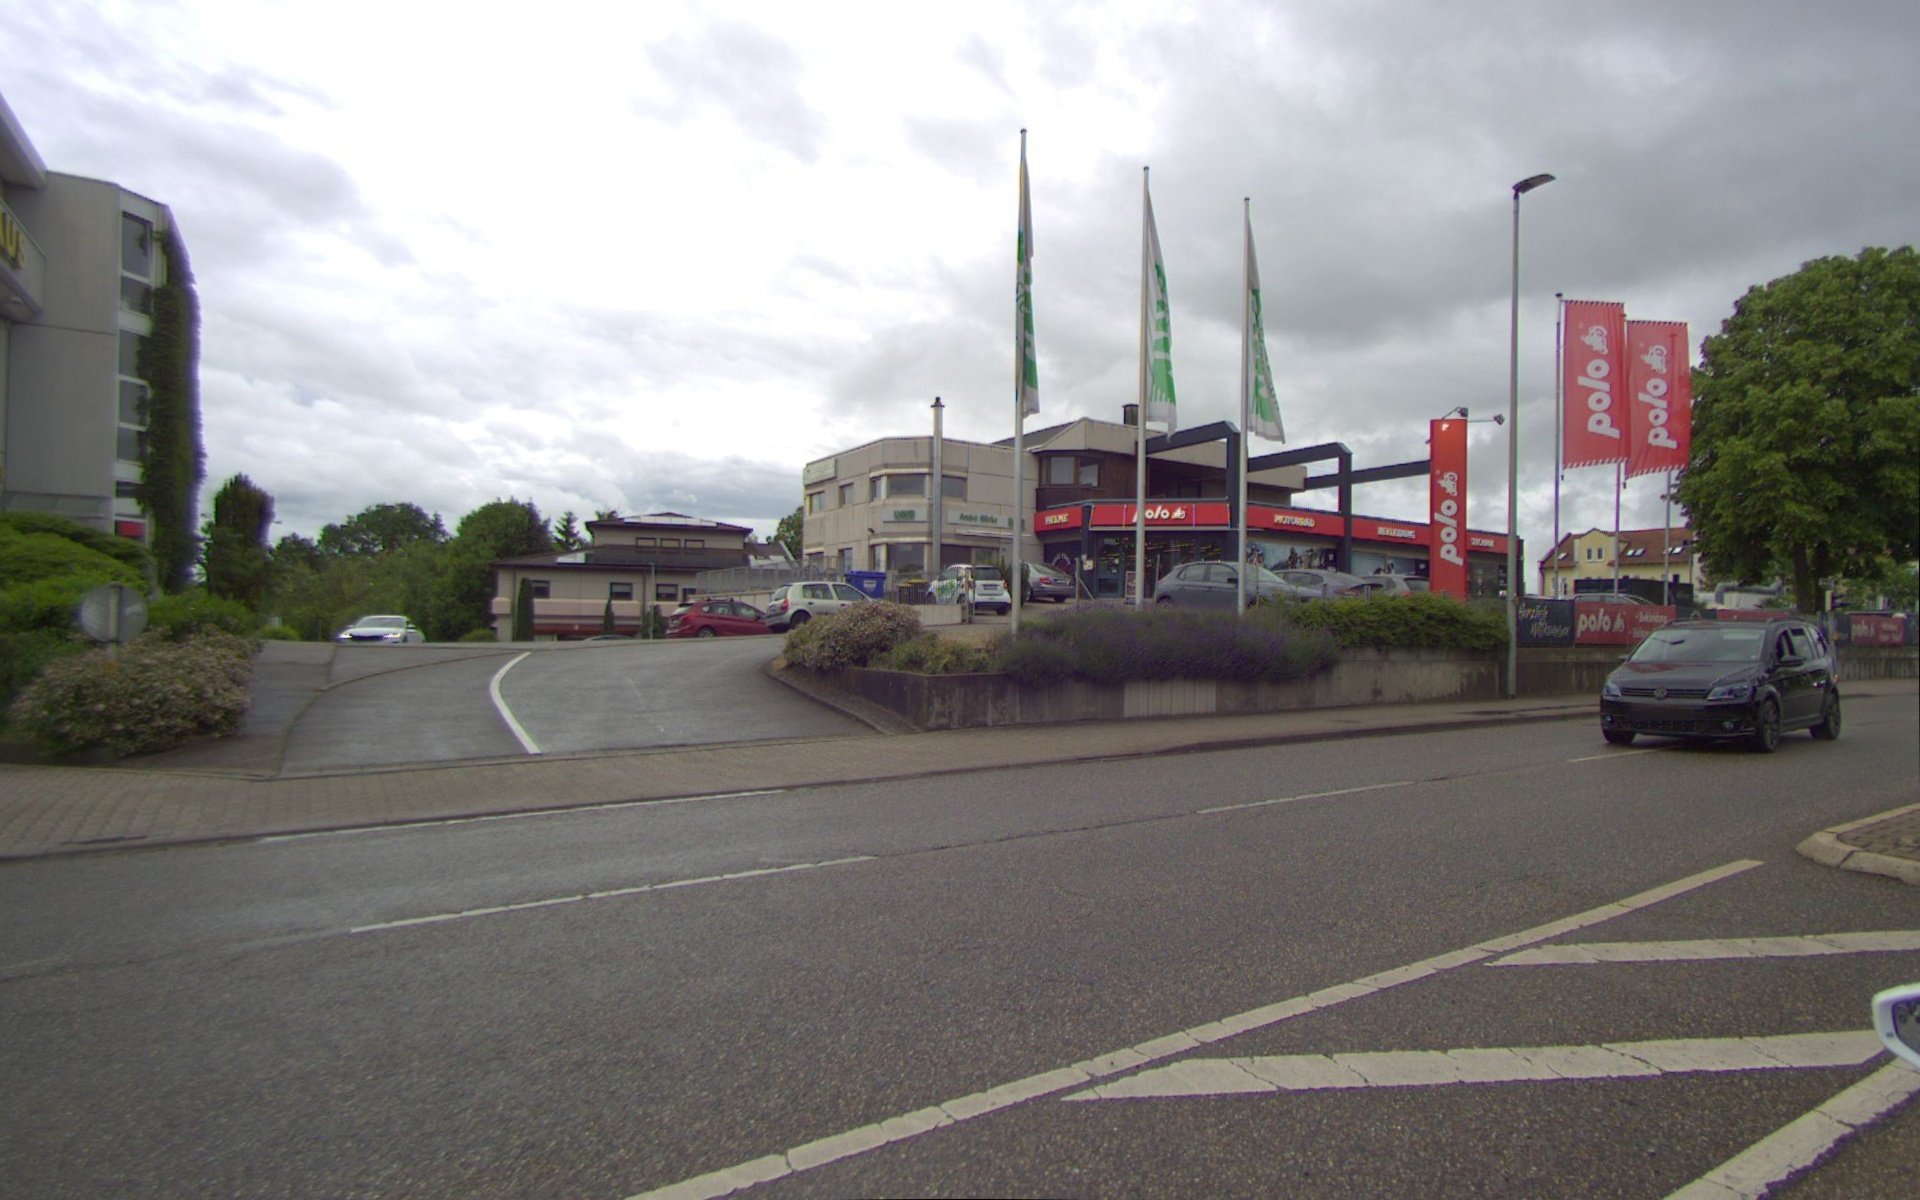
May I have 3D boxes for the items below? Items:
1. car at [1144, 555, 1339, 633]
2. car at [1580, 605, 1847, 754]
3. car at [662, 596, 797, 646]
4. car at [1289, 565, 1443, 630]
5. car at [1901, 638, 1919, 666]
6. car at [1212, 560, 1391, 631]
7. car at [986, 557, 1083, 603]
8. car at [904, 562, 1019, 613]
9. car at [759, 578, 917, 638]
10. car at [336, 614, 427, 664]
[{"bbox_3d":[5.936,-0.084,21.521,1.726,1.502,3.798,1,-1,-37],"label":"car"},{"bbox_3d":[10.132,0.970,13.417,4.109,1.699,1.744,1,-3,-37],"label":"car"},{"bbox_3d":[-7.524,0.720,32.990,4.015,1.532,1.663,1,-3,-36],"label":"car"},{"bbox_3d":[10.273,-0.022,25.598,1.564,1.529,3.398,1,-1,-31],"label":"car"},{"bbox_3d":[52.064,2.740,52.330,4.134,1.475,1.796,-1,-1,32],"label":"car"},{"bbox_3d":[7.853,-0.064,23.353,1.726,1.502,3.620,1,-1,-37],"label":"car"},{"bbox_3d":[2.734,-0.703,37.708,1.851,1.532,3.974,1,-1,-27],"label":"car"},{"bbox_3d":[-0.009,-0.352,32.194,1.856,1.502,3.801,1,-1,-35],"label":"car"},{"bbox_3d":[-3.310,0.258,27.352,3.956,1.532,1.666,1,-2,-31],"label":"car"},{"bbox_3d":[-18.948,1.240,33.087,1.845,1.532,3.986,0,-1,-19],"label":"car"}]
